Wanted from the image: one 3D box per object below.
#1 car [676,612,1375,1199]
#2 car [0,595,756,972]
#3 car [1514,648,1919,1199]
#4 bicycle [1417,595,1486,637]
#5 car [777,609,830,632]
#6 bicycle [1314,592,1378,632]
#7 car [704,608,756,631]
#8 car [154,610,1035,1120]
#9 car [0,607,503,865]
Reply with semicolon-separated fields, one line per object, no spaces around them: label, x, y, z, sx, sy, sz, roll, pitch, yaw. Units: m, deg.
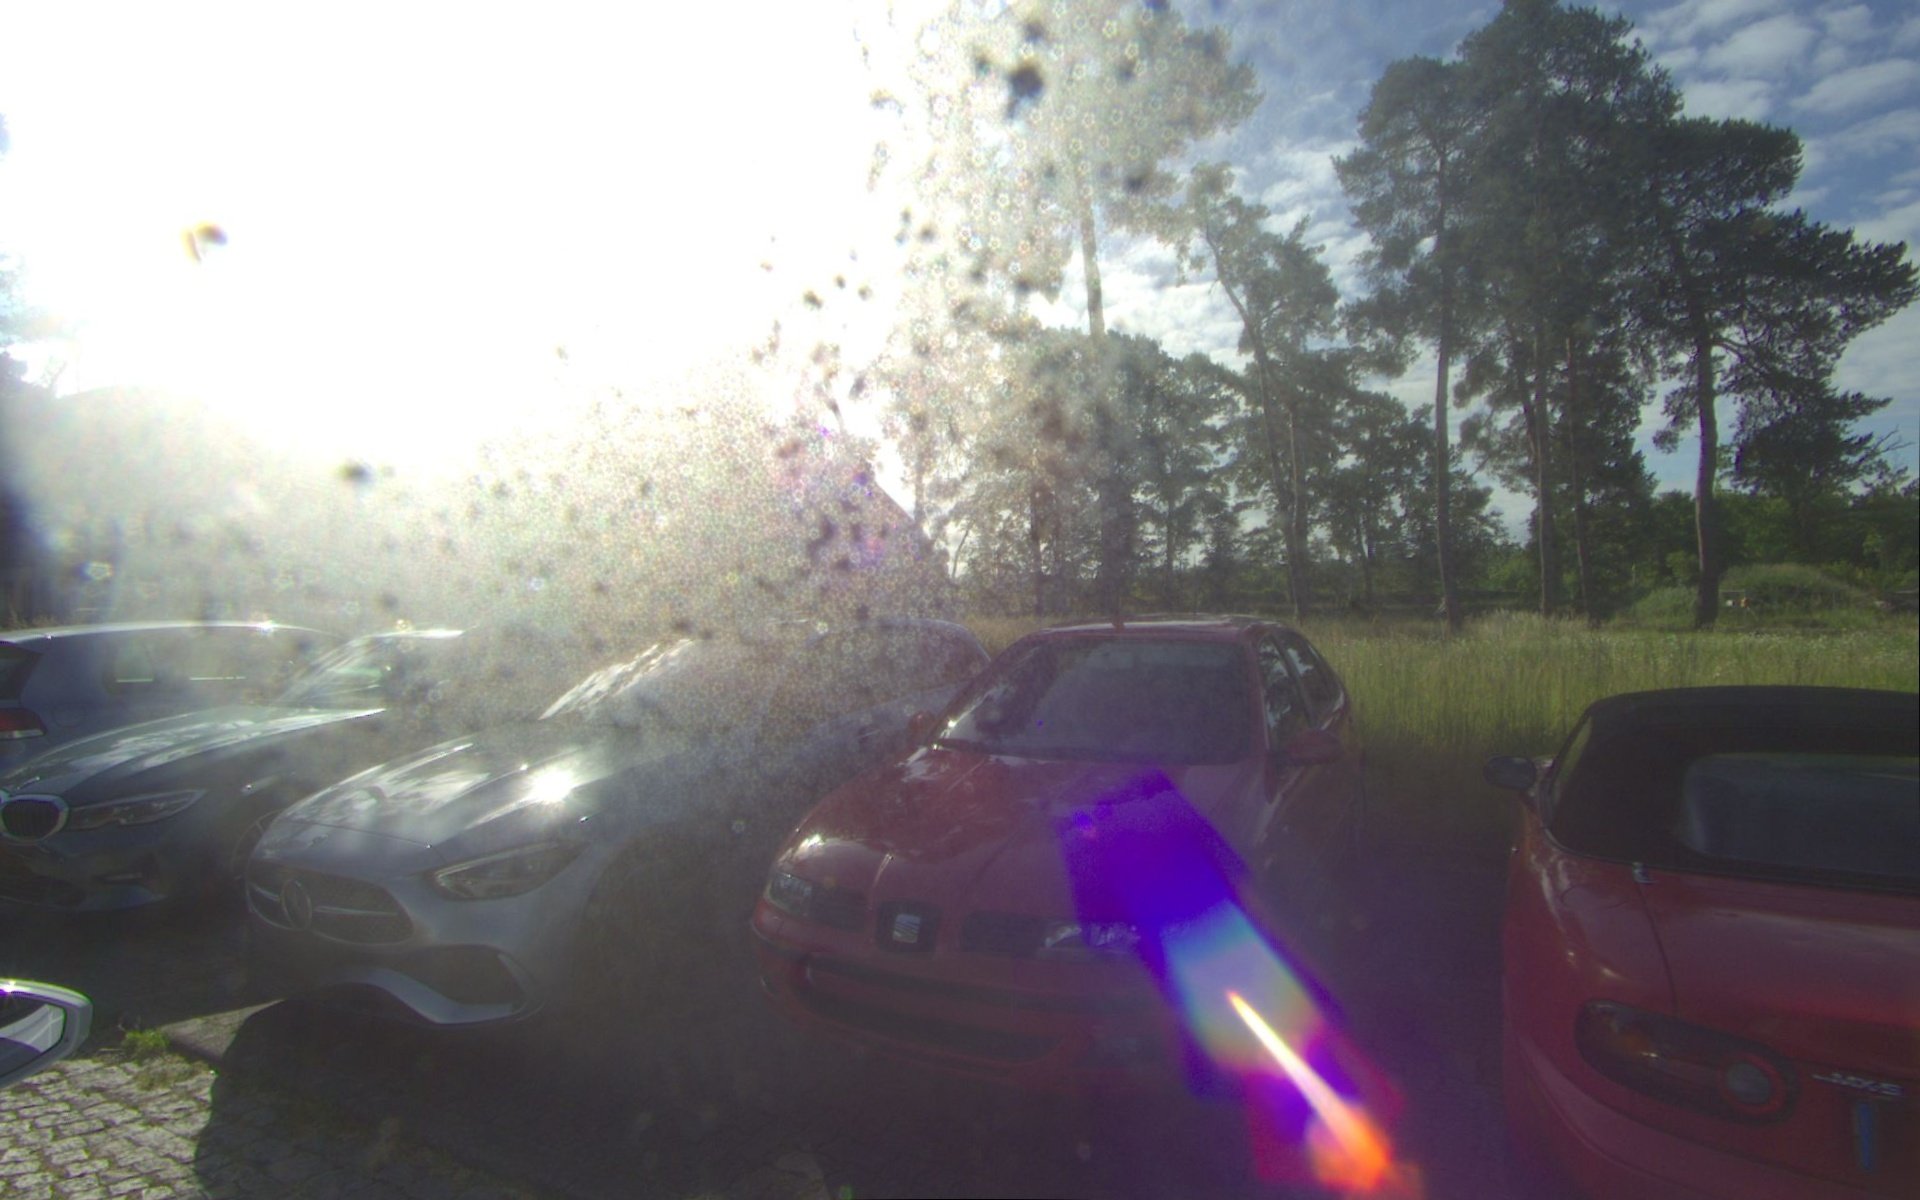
car;0.776;0.840;4.480;1.630;1.468;3.975;-1;1;28
car;-3.577;0.791;6.783;1.840;1.475;4.615;0;2;26
car;2.505;0.847;2.952;1.513;1.258;3.457;-1;0;29
bicycle;25.390;0.812;51.794;3.080;2.040;0.950;-2;0;25
car;-10.958;1.408;70.312;1.741;1.517;3.629;-1;0;31
bicycle;20.733;0.638;53.790;3.083;2.040;0.950;-3;0;28
car;-17.086;1.433;74.561;1.741;1.693;3.629;-1;0;31
car;-1.278;0.832;5.376;1.761;1.407;4.394;-1;1;27
car;-5.803;0.852;7.973;1.640;1.463;3.668;-1;1;28
